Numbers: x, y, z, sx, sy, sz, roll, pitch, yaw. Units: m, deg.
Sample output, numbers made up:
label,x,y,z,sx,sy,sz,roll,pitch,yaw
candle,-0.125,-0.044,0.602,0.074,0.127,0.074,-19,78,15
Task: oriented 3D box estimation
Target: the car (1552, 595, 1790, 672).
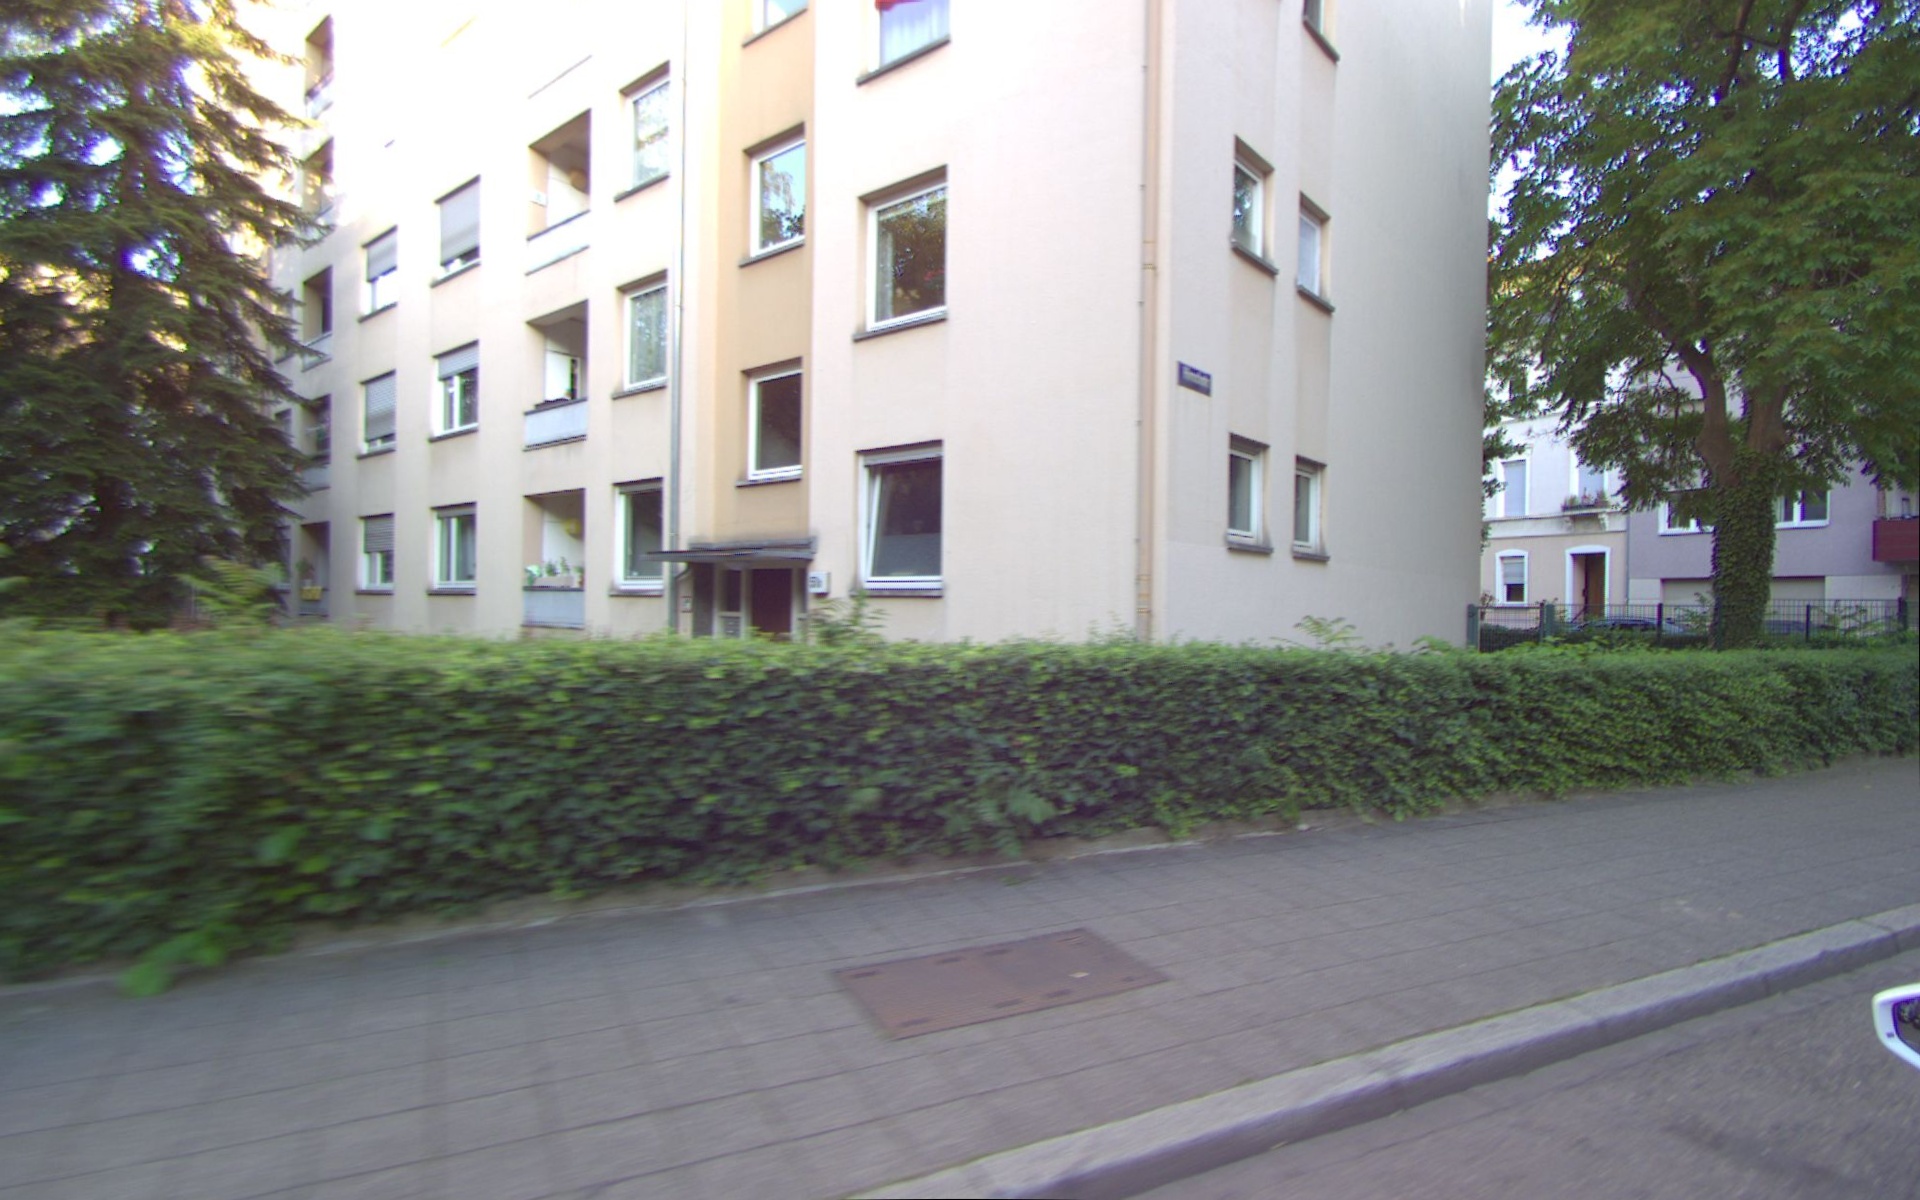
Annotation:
label,x,y,z,sx,sy,sz,roll,pitch,yaw
car,16.877,0.719,24.115,1.803,1.662,4.357,0,0,-25
